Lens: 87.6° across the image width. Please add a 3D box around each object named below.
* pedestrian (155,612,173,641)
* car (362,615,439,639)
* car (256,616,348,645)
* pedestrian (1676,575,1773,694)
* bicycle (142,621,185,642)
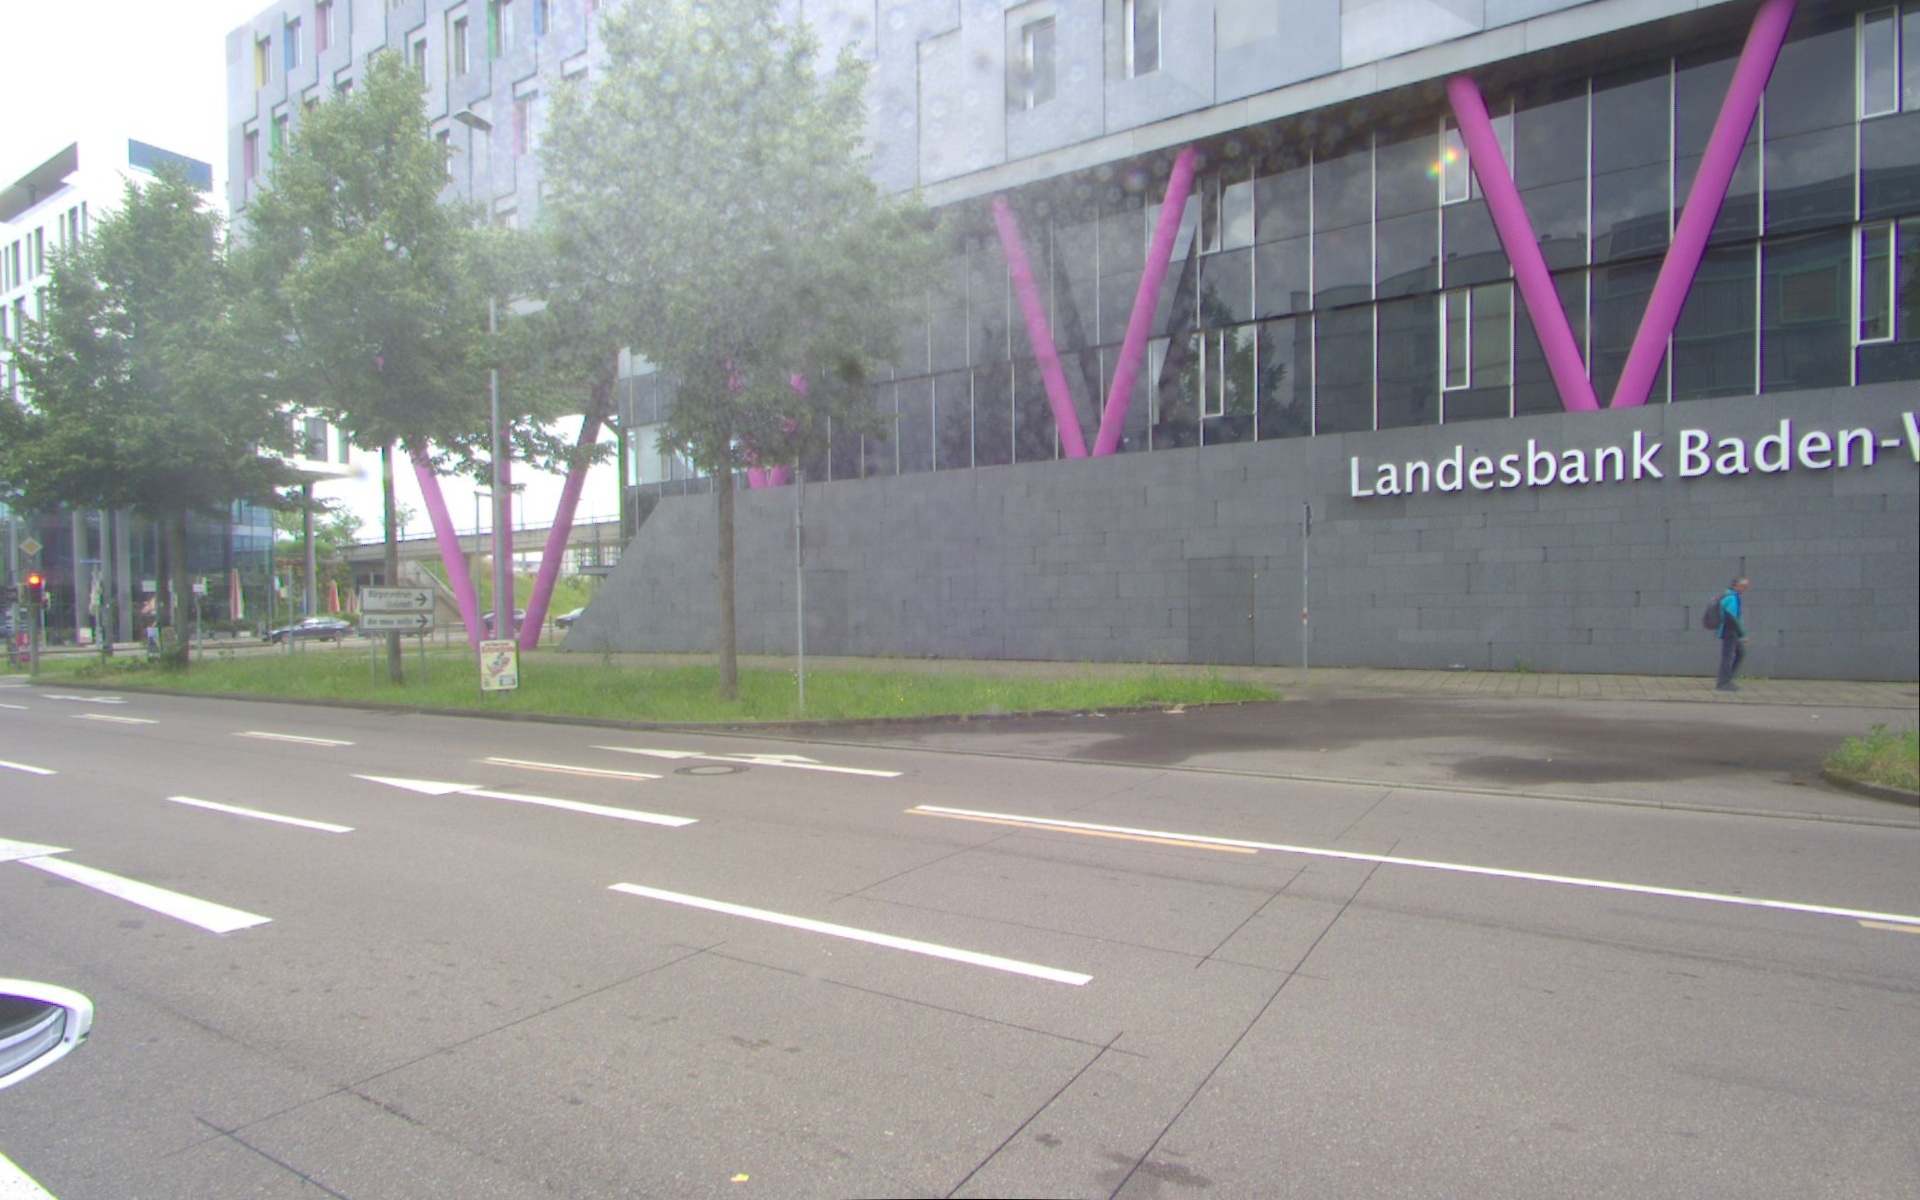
[{"bbox_3d":[-43.981,1.461,55.359,0.610,1.625,0.613,0,1,34],"label":"pedestrian"},{"bbox_3d":[-36.229,1.713,64.924,1.734,1.474,4.070,0,0,34],"label":"car"},{"bbox_3d":[-39.162,1.789,59.651,1.734,1.636,4.240,0,0,34],"label":"car"},{"bbox_3d":[12.078,0.516,15.872,1.121,1.794,1.049,0,1,33],"label":"pedestrian"},{"bbox_3d":[-44.002,1.734,55.337,0.609,1.100,1.787,0,0,34],"label":"bicycle"}]
